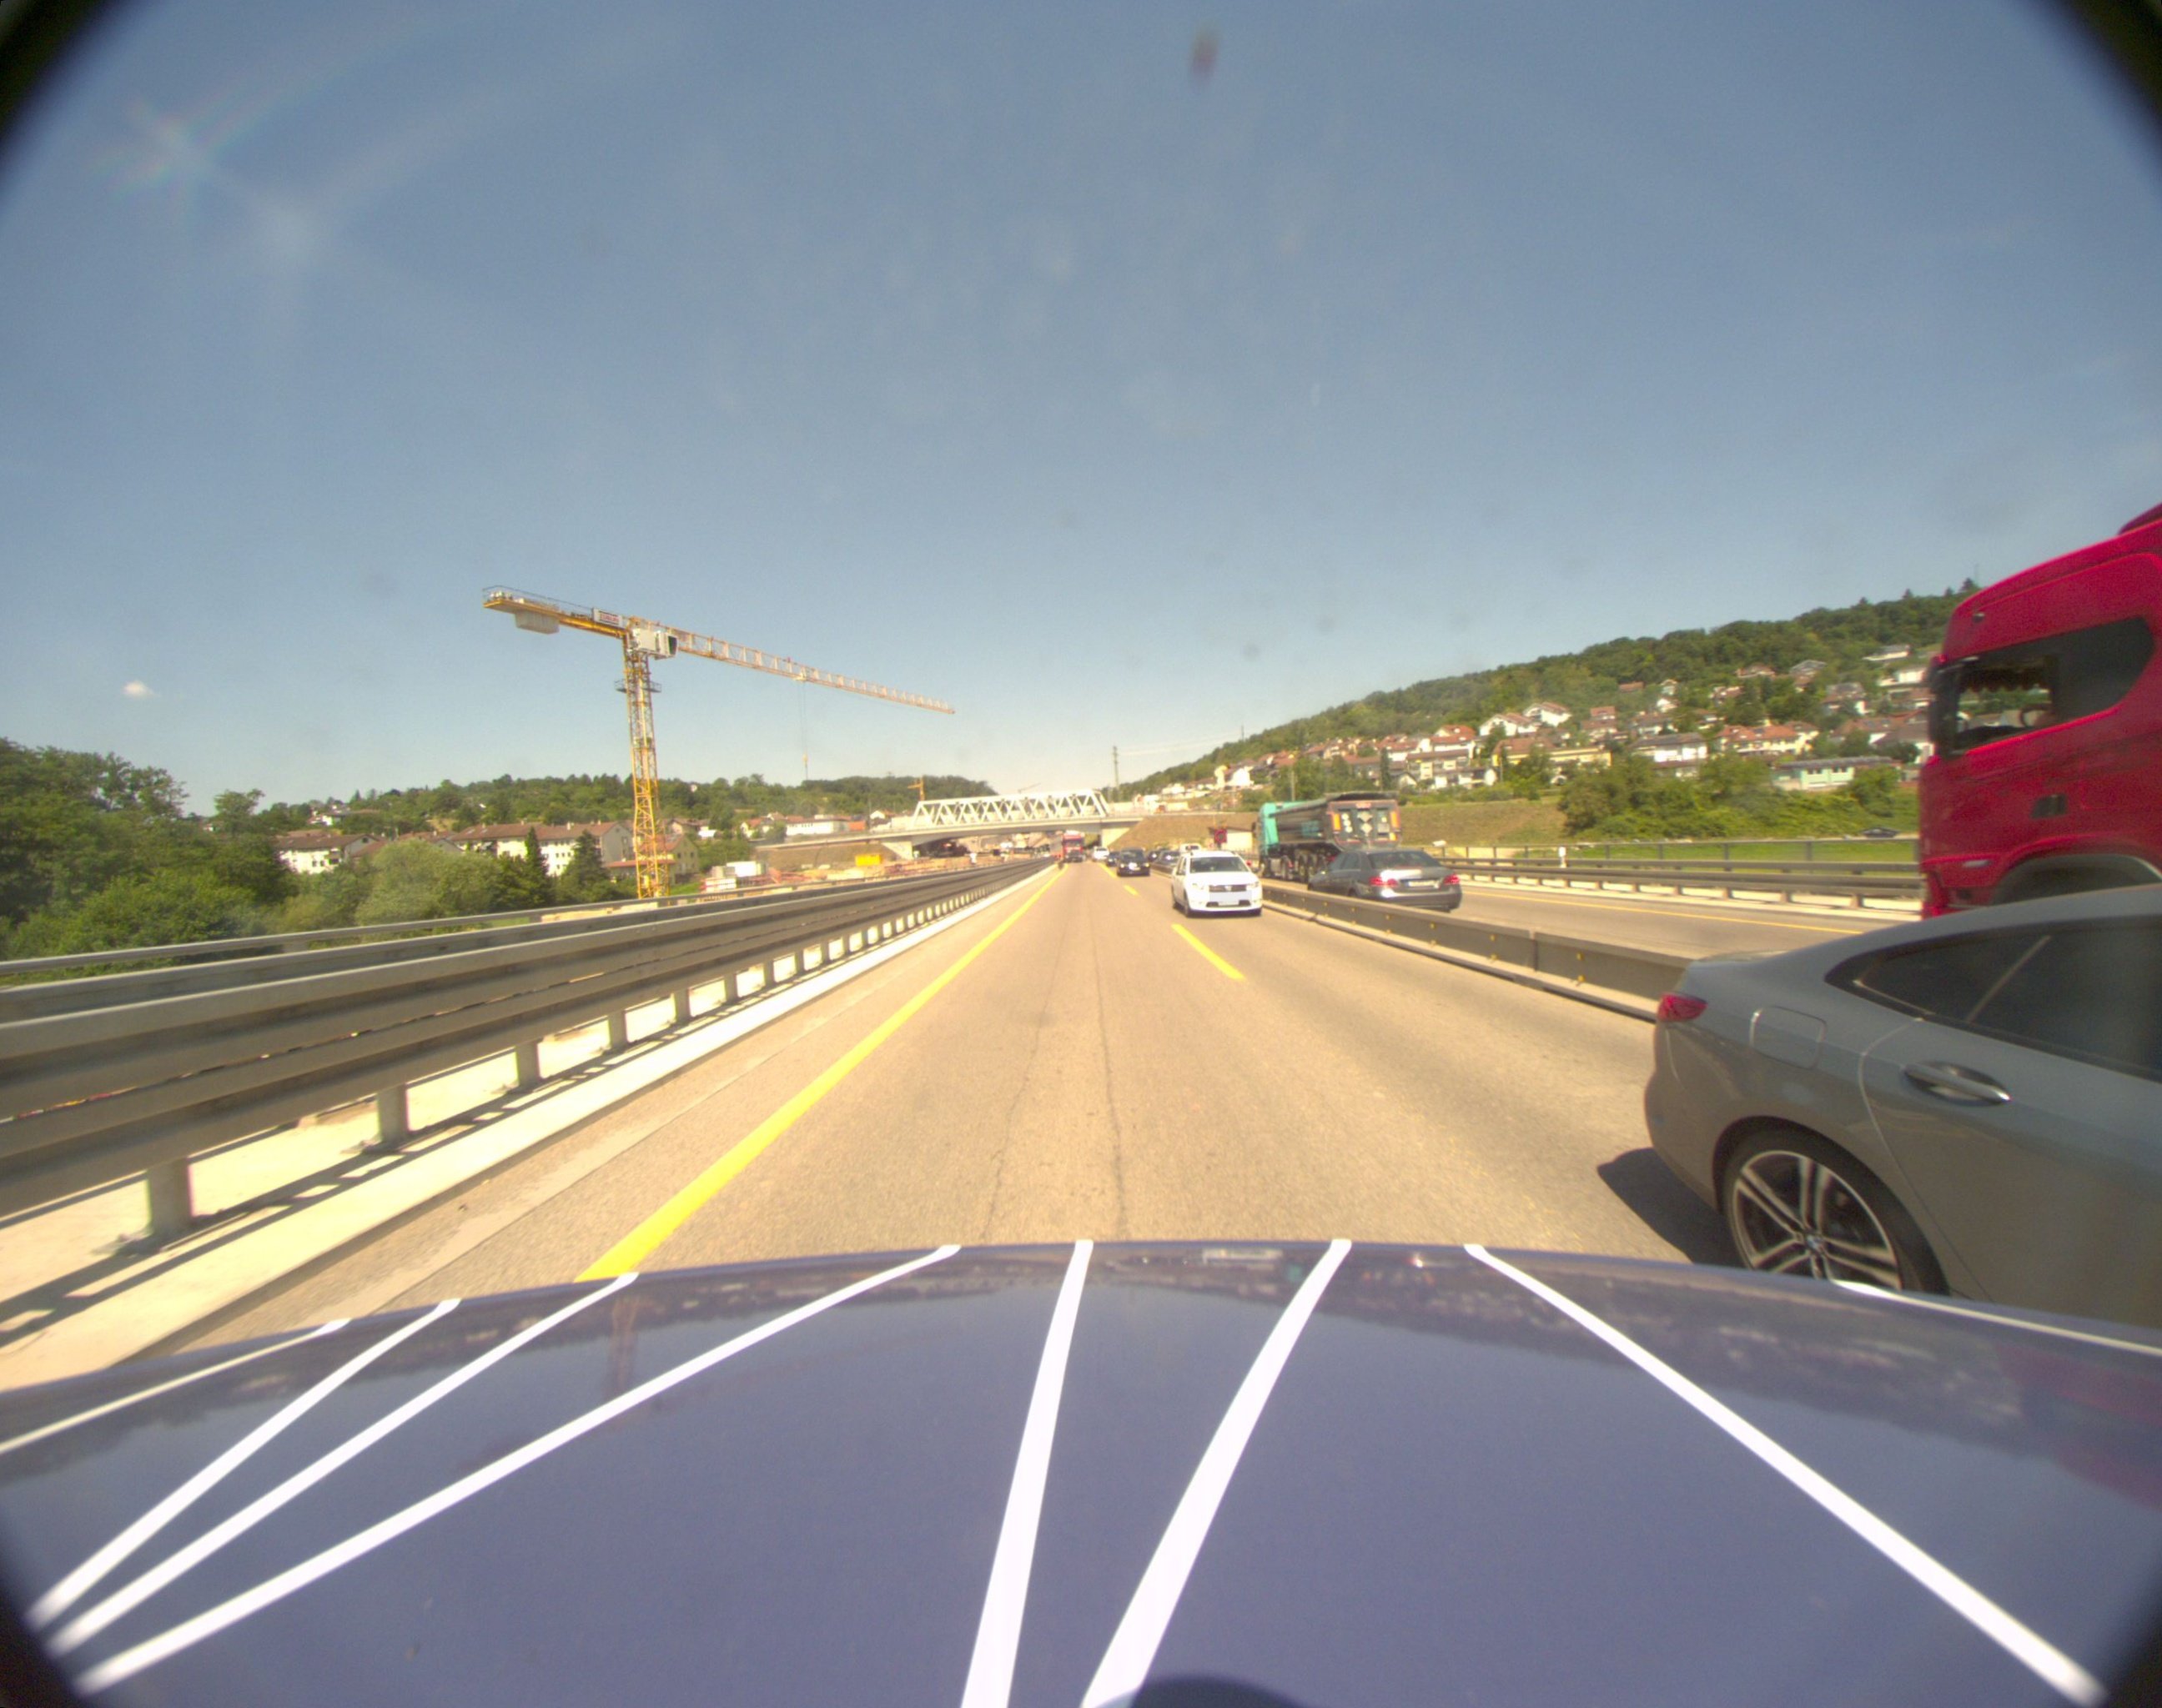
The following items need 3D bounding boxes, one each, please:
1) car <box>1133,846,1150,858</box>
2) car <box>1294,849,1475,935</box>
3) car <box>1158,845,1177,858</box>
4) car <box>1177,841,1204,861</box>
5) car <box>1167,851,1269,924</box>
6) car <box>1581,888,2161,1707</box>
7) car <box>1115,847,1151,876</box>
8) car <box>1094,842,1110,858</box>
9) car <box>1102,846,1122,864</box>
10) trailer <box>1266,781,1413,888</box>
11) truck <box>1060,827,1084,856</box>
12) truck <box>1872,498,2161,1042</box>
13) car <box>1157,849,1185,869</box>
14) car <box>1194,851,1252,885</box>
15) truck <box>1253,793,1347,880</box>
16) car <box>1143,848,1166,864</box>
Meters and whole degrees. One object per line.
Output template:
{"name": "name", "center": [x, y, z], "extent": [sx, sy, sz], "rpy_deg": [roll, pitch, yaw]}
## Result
{"name": "car", "center": [7.353, -0.231, 92.927], "extent": [1.830, 1.410, 4.657], "rpy_deg": [0, 0, 2]}
{"name": "car", "center": [6.228, 0.682, 16.323], "extent": [1.894, 1.479, 4.919], "rpy_deg": [-3, 0, 1]}
{"name": "car", "center": [10.654, -0.336, 93.924], "extent": [1.818, 1.560, 3.999], "rpy_deg": [-1, 0, -2]}
{"name": "car", "center": [10.480, -0.286, 73.101], "extent": [1.864, 1.856, 4.628], "rpy_deg": [-1, 0, -1]}
{"name": "car", "center": [3.254, 0.727, 18.982], "extent": [1.823, 1.521, 4.706], "rpy_deg": [-2, 0, 2]}
{"name": "car", "center": [2.944, 0.890, 0.685], "extent": [1.856, 1.443, 4.742], "rpy_deg": [-2, 0, 0]}
{"name": "car", "center": [3.126, 0.424, 46.679], "extent": [1.862, 1.683, 4.097], "rpy_deg": [-2, 0, -1]}
{"name": "car", "center": [2.679, -0.478, 96.214], "extent": [1.791, 1.871, 4.000], "rpy_deg": [-4, 0, 2]}
{"name": "car", "center": [2.938, 0.103, 71.968], "extent": [1.791, 1.578, 4.000], "rpy_deg": [-4, 0, 2]}
{"name": "trailer", "center": [10.084, -0.719, 30.885], "extent": [2.801, 3.651, 8.955], "rpy_deg": [-2, 1, 0]}
{"name": "truck", "center": [-1.272, -1.712, 103.818], "extent": [2.703, 3.705, 8.503], "rpy_deg": [-2, 1, -4]}
{"name": "truck", "center": [9.408, -0.663, 4.360], "extent": [2.823, 4.013, 6.522], "rpy_deg": [-2, 0, 0]}
{"name": "car", "center": [6.557, 0.353, 55.722], "extent": [1.635, 1.400, 4.103], "rpy_deg": [0, 0, 0]}
{"name": "car", "center": [6.256, 0.577, 33.902], "extent": [1.785, 1.372, 4.711], "rpy_deg": [0, 0, 1]}
{"name": "truck", "center": [10.070, -0.817, 35.548], "extent": [2.804, 3.701, 5.373], "rpy_deg": [-2, 1, 0]}
{"name": "car", "center": [6.750, 0.169, 70.162], "extent": [1.683, 1.384, 4.155], "rpy_deg": [0, 0, 1]}
